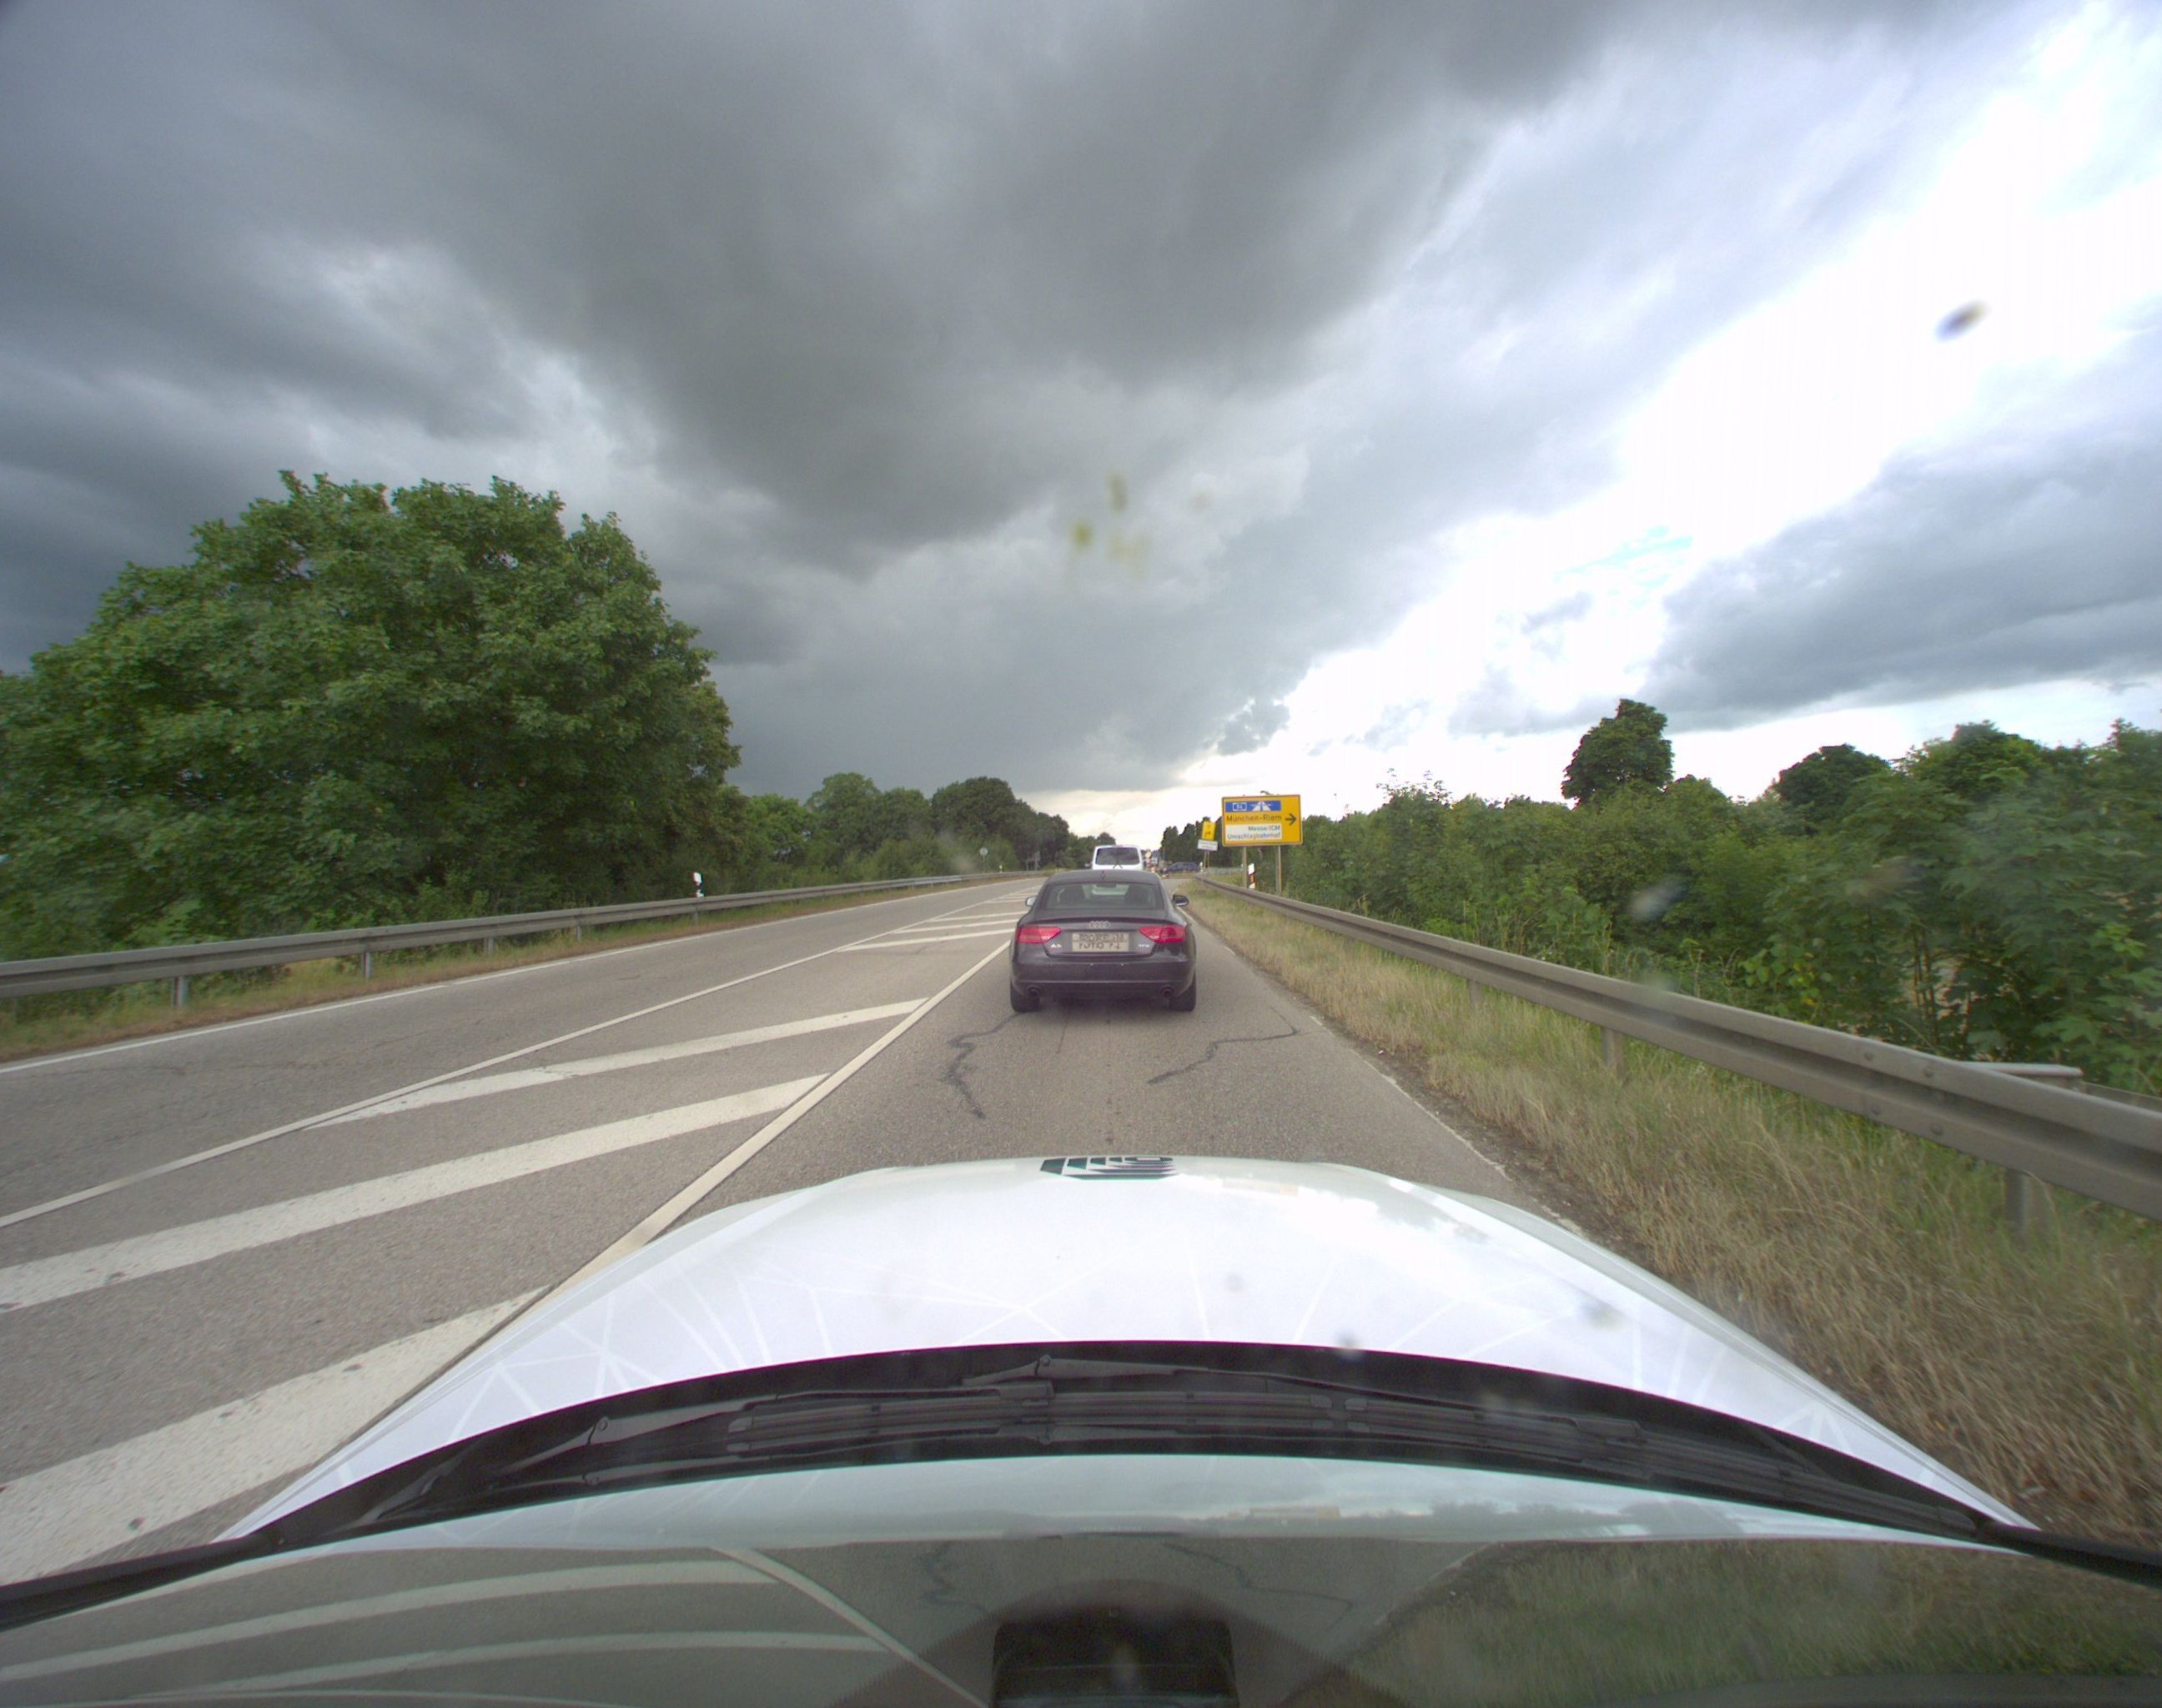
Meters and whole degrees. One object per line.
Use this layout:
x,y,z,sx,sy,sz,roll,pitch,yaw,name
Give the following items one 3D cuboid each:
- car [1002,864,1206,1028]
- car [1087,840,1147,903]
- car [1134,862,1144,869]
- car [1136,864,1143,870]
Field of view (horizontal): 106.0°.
0.253,0.828,8.815,1.773,1.399,3.337,-1,-1,2,car
1.237,0.557,28.129,1.903,2.014,4.002,0,0,2,car
13.849,2.835,195.449,2.197,1.582,4.381,0,0,2,car
15.441,3.479,214.249,1.728,1.454,4.001,0,0,1,car
